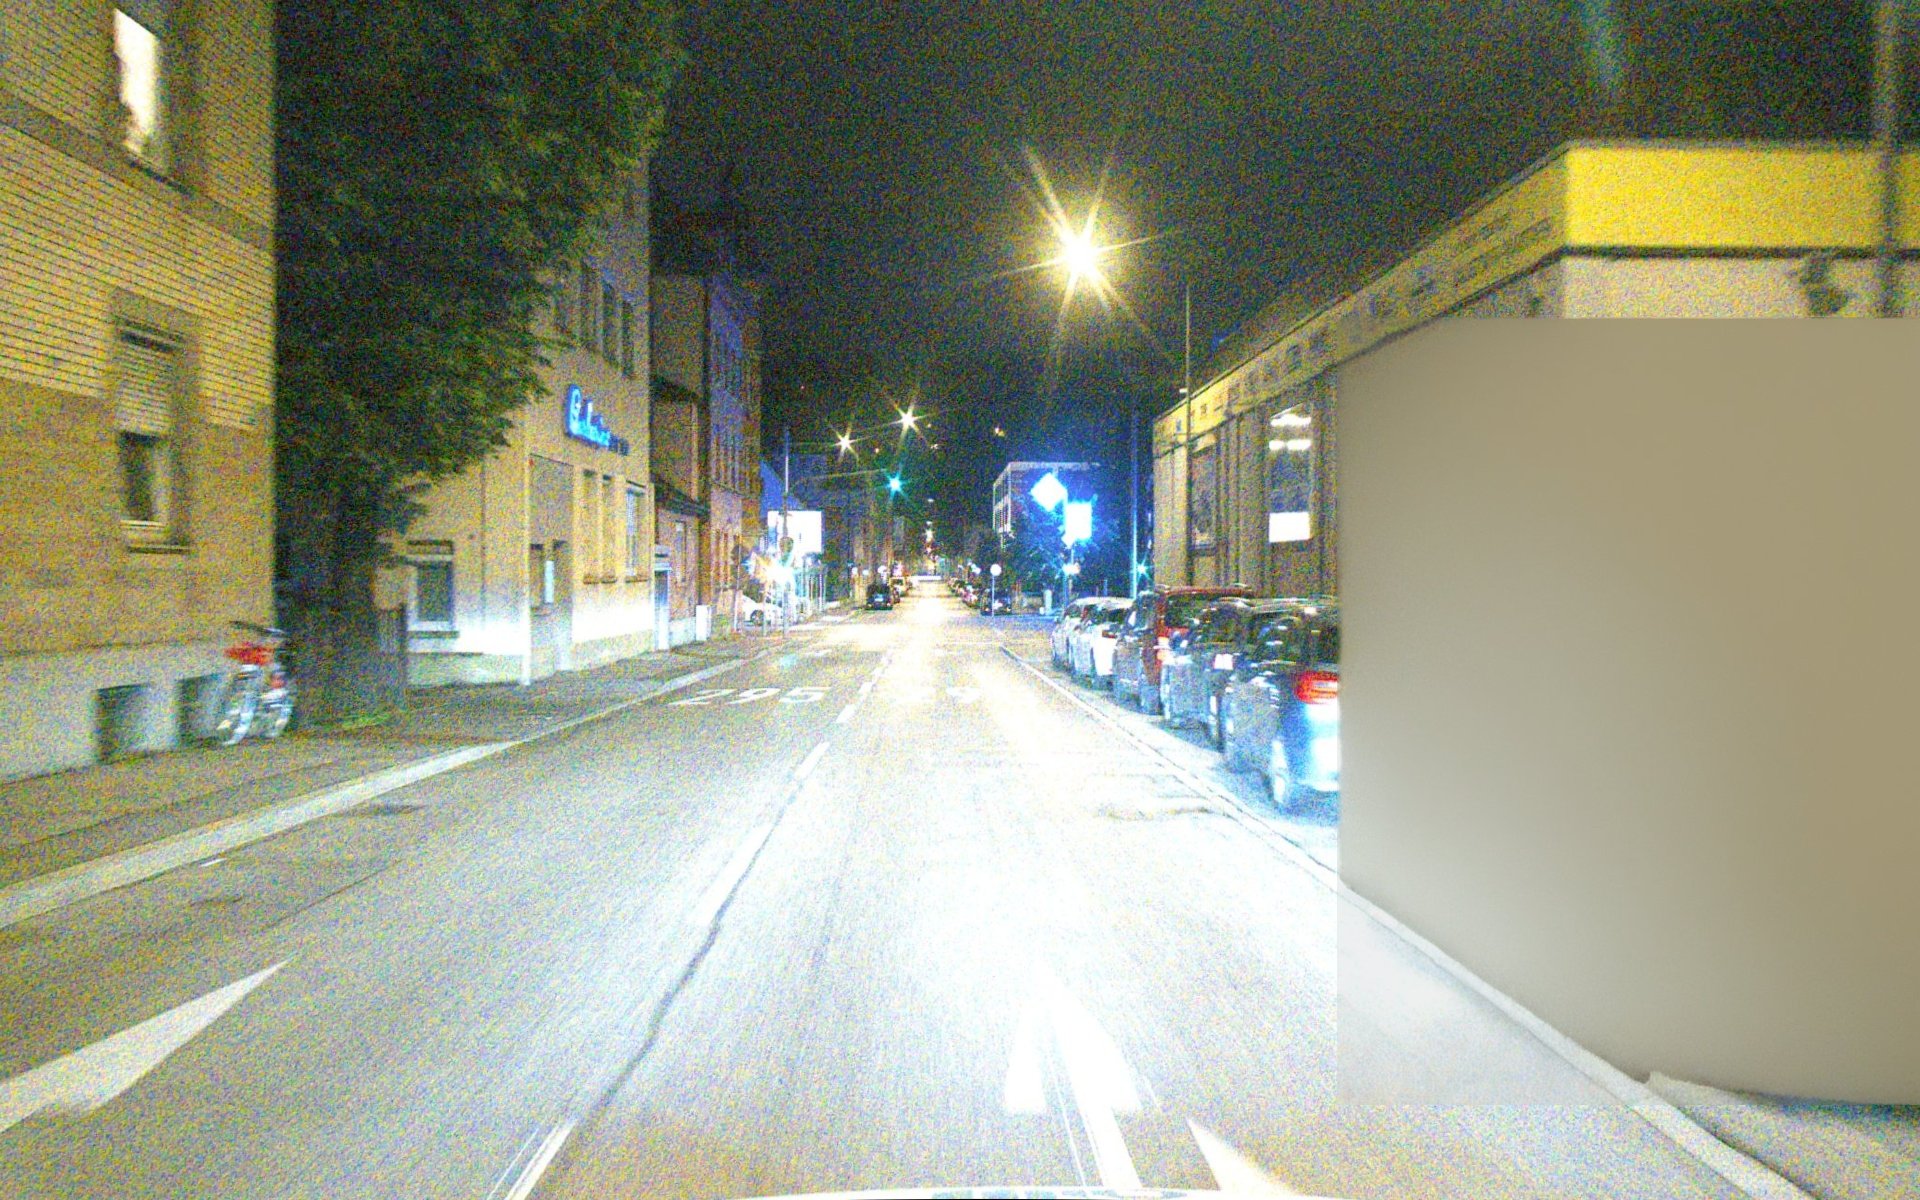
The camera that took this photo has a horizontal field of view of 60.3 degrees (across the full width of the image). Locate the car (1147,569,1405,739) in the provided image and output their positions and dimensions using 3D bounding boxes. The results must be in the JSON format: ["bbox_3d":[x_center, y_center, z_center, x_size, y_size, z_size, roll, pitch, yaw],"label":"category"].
[{"bbox_3d":[3.302,0.513,18.217,1.787,1.616,4.626,-1,0,-2],"label":"car"}]

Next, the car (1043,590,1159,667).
[{"bbox_3d":[2.909,0.597,35.083,1.823,1.515,4.543,1,-1,-3],"label":"car"}]

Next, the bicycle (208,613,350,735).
[{"bbox_3d":[-6.336,0.667,15.488,0.607,1.070,1.721,1,-1,0],"label":"bicycle"}]

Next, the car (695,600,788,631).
[{"bbox_3d":[-10.775,0.754,81.844,4.350,1.475,1.999,1,-1,-2],"label":"car"}]

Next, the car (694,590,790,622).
[{"bbox_3d":[-10.350,0.308,78.766,4.349,1.475,1.999,1,-1,-2],"label":"car"}]

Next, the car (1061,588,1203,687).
[{"bbox_3d":[2.895,0.630,28.731,1.739,1.571,4.543,1,-1,-3],"label":"car"}]

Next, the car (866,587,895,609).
[{"bbox_3d":[-5.814,-0.158,121.172,1.953,1.528,3.999,1,-1,-1],"label":"car"}]

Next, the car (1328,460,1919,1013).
[{"bbox_3d":[3.331,0.460,8.198,1.764,1.908,4.772,-2,0,-2],"label":"car"}]

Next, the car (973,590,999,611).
[{"bbox_3d":[1.979,0.069,126.837,1.952,1.547,4.000,1,-1,1],"label":"car"}]

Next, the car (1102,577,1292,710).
[{"bbox_3d":[3.186,0.547,23.120,1.787,1.651,4.455,-1,0,-3],"label":"car"}]

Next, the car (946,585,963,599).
[{"bbox_3d":[-0.623,-0.920,199.040,1.952,1.547,4.000,1,-1,1],"label":"car"}]

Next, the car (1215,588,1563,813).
[{"bbox_3d":[3.153,0.663,13.020,1.778,1.452,4.190,-1,0,2],"label":"car"}]

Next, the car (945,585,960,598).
[{"bbox_3d":[-1.028,-1.138,221.906,1.952,1.547,4.000,1,-1,1],"label":"car"}]

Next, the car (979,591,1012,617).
[{"bbox_3d":[2.190,0.239,102.942,1.952,1.543,4.000,1,0,1],"label":"car"}]
